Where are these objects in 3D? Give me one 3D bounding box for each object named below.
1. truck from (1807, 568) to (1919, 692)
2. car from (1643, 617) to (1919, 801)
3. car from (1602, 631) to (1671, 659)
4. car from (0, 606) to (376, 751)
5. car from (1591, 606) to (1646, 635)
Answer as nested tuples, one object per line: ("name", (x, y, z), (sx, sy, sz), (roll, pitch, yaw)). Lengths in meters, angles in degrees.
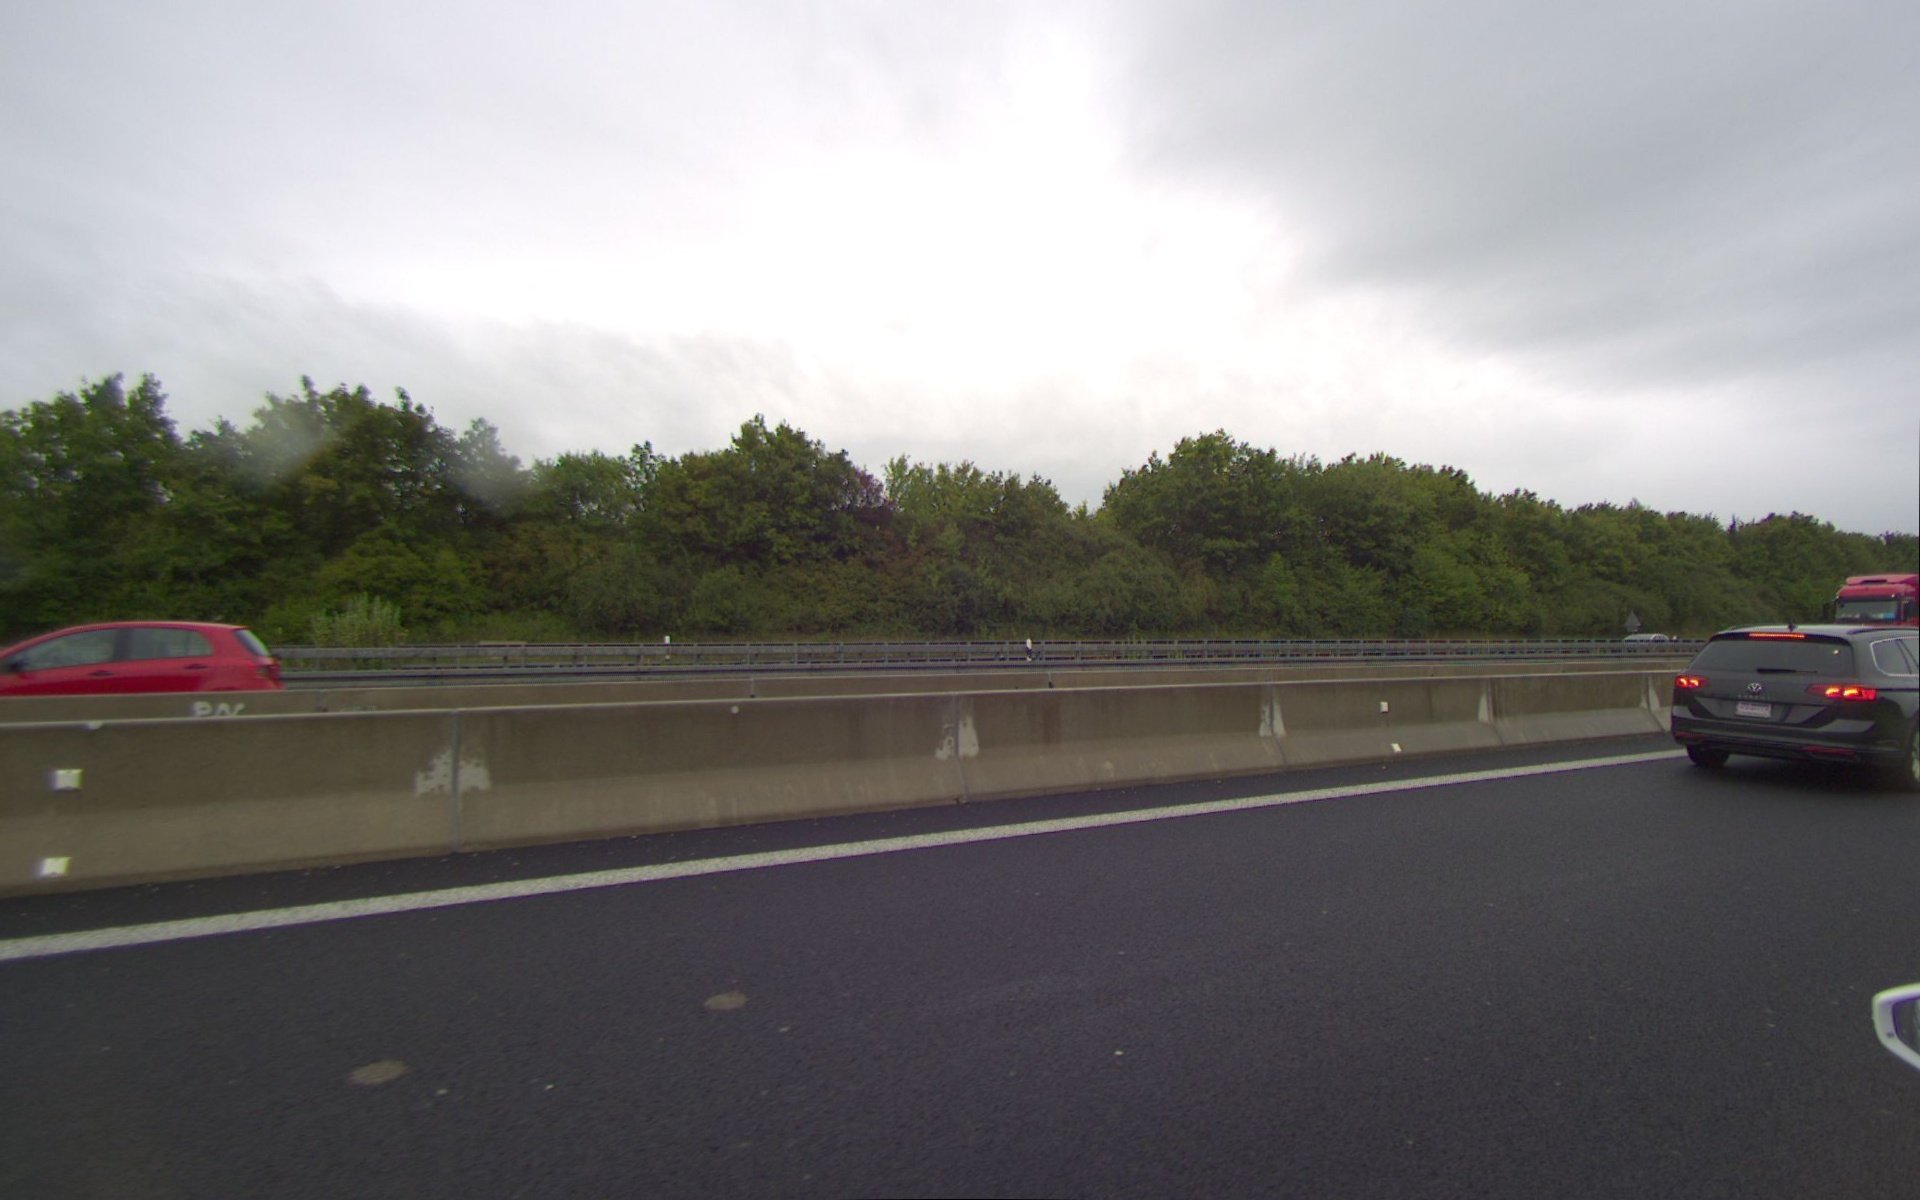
("truck", (40.454, 1.236, 42.719), (10.359, 4.796, 3.384), (1, 0, -30))
("car", (9.174, 0.955, 10.219), (4.744, 1.478, 1.779), (1, 0, -30))
("car", (36.361, 2.390, 53.992), (3.953, 1.416, 1.515), (1, -1, -30))
("car", (-9.971, 0.910, 12.626), (4.530, 1.573, 1.715), (1, 0, -31))
("car", (47.808, 1.497, 72.881), (3.952, 2.040, 1.742), (1, -1, -30))
